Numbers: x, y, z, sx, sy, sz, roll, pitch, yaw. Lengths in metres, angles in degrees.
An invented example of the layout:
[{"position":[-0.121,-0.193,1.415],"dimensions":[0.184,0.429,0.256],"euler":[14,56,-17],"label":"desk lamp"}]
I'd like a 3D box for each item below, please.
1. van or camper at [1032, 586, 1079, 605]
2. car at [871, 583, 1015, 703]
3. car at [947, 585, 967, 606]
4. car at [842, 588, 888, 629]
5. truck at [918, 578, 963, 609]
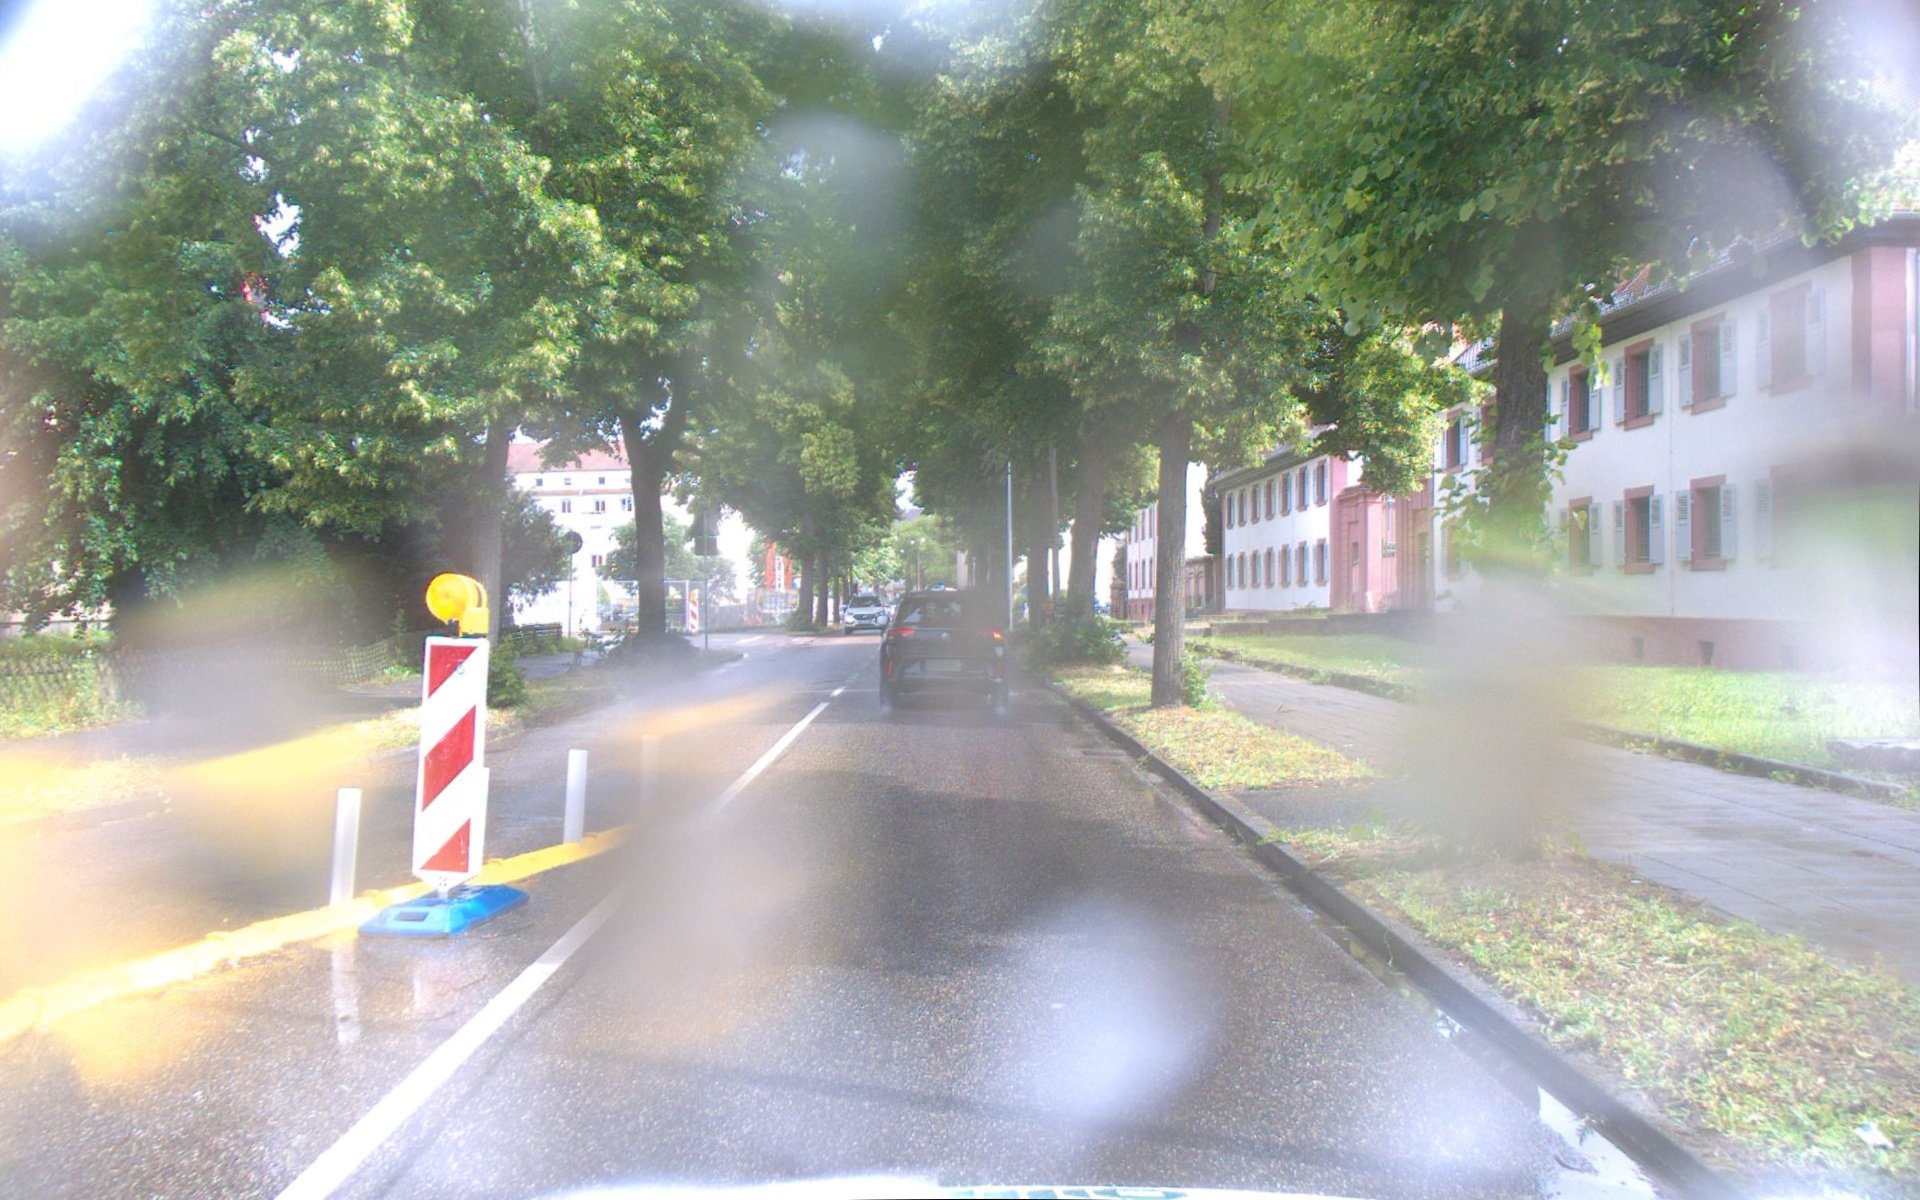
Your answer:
[{"position":[9.773,-0.450,169.479],"dimensions":[4.775,1.959,2.131],"euler":[0,0,-1],"label":"van or camper"},{"position":[-0.261,0.565,23.385],"dimensions":[1.856,1.549,3.999],"euler":[0,0,-1],"label":"car"},{"position":[-0.349,-0.531,197.426],"dimensions":[1.952,2.049,4.001],"euler":[-3,-4,3],"label":"car"},{"position":[-4.223,0.353,73.966],"dimensions":[1.848,1.743,4.229],"euler":[-1,0,0],"label":"car"},{"position":[-1.785,-0.604,148.161],"dimensions":[2.754,2.703,8.221],"euler":[0,1,-10],"label":"truck"}]
